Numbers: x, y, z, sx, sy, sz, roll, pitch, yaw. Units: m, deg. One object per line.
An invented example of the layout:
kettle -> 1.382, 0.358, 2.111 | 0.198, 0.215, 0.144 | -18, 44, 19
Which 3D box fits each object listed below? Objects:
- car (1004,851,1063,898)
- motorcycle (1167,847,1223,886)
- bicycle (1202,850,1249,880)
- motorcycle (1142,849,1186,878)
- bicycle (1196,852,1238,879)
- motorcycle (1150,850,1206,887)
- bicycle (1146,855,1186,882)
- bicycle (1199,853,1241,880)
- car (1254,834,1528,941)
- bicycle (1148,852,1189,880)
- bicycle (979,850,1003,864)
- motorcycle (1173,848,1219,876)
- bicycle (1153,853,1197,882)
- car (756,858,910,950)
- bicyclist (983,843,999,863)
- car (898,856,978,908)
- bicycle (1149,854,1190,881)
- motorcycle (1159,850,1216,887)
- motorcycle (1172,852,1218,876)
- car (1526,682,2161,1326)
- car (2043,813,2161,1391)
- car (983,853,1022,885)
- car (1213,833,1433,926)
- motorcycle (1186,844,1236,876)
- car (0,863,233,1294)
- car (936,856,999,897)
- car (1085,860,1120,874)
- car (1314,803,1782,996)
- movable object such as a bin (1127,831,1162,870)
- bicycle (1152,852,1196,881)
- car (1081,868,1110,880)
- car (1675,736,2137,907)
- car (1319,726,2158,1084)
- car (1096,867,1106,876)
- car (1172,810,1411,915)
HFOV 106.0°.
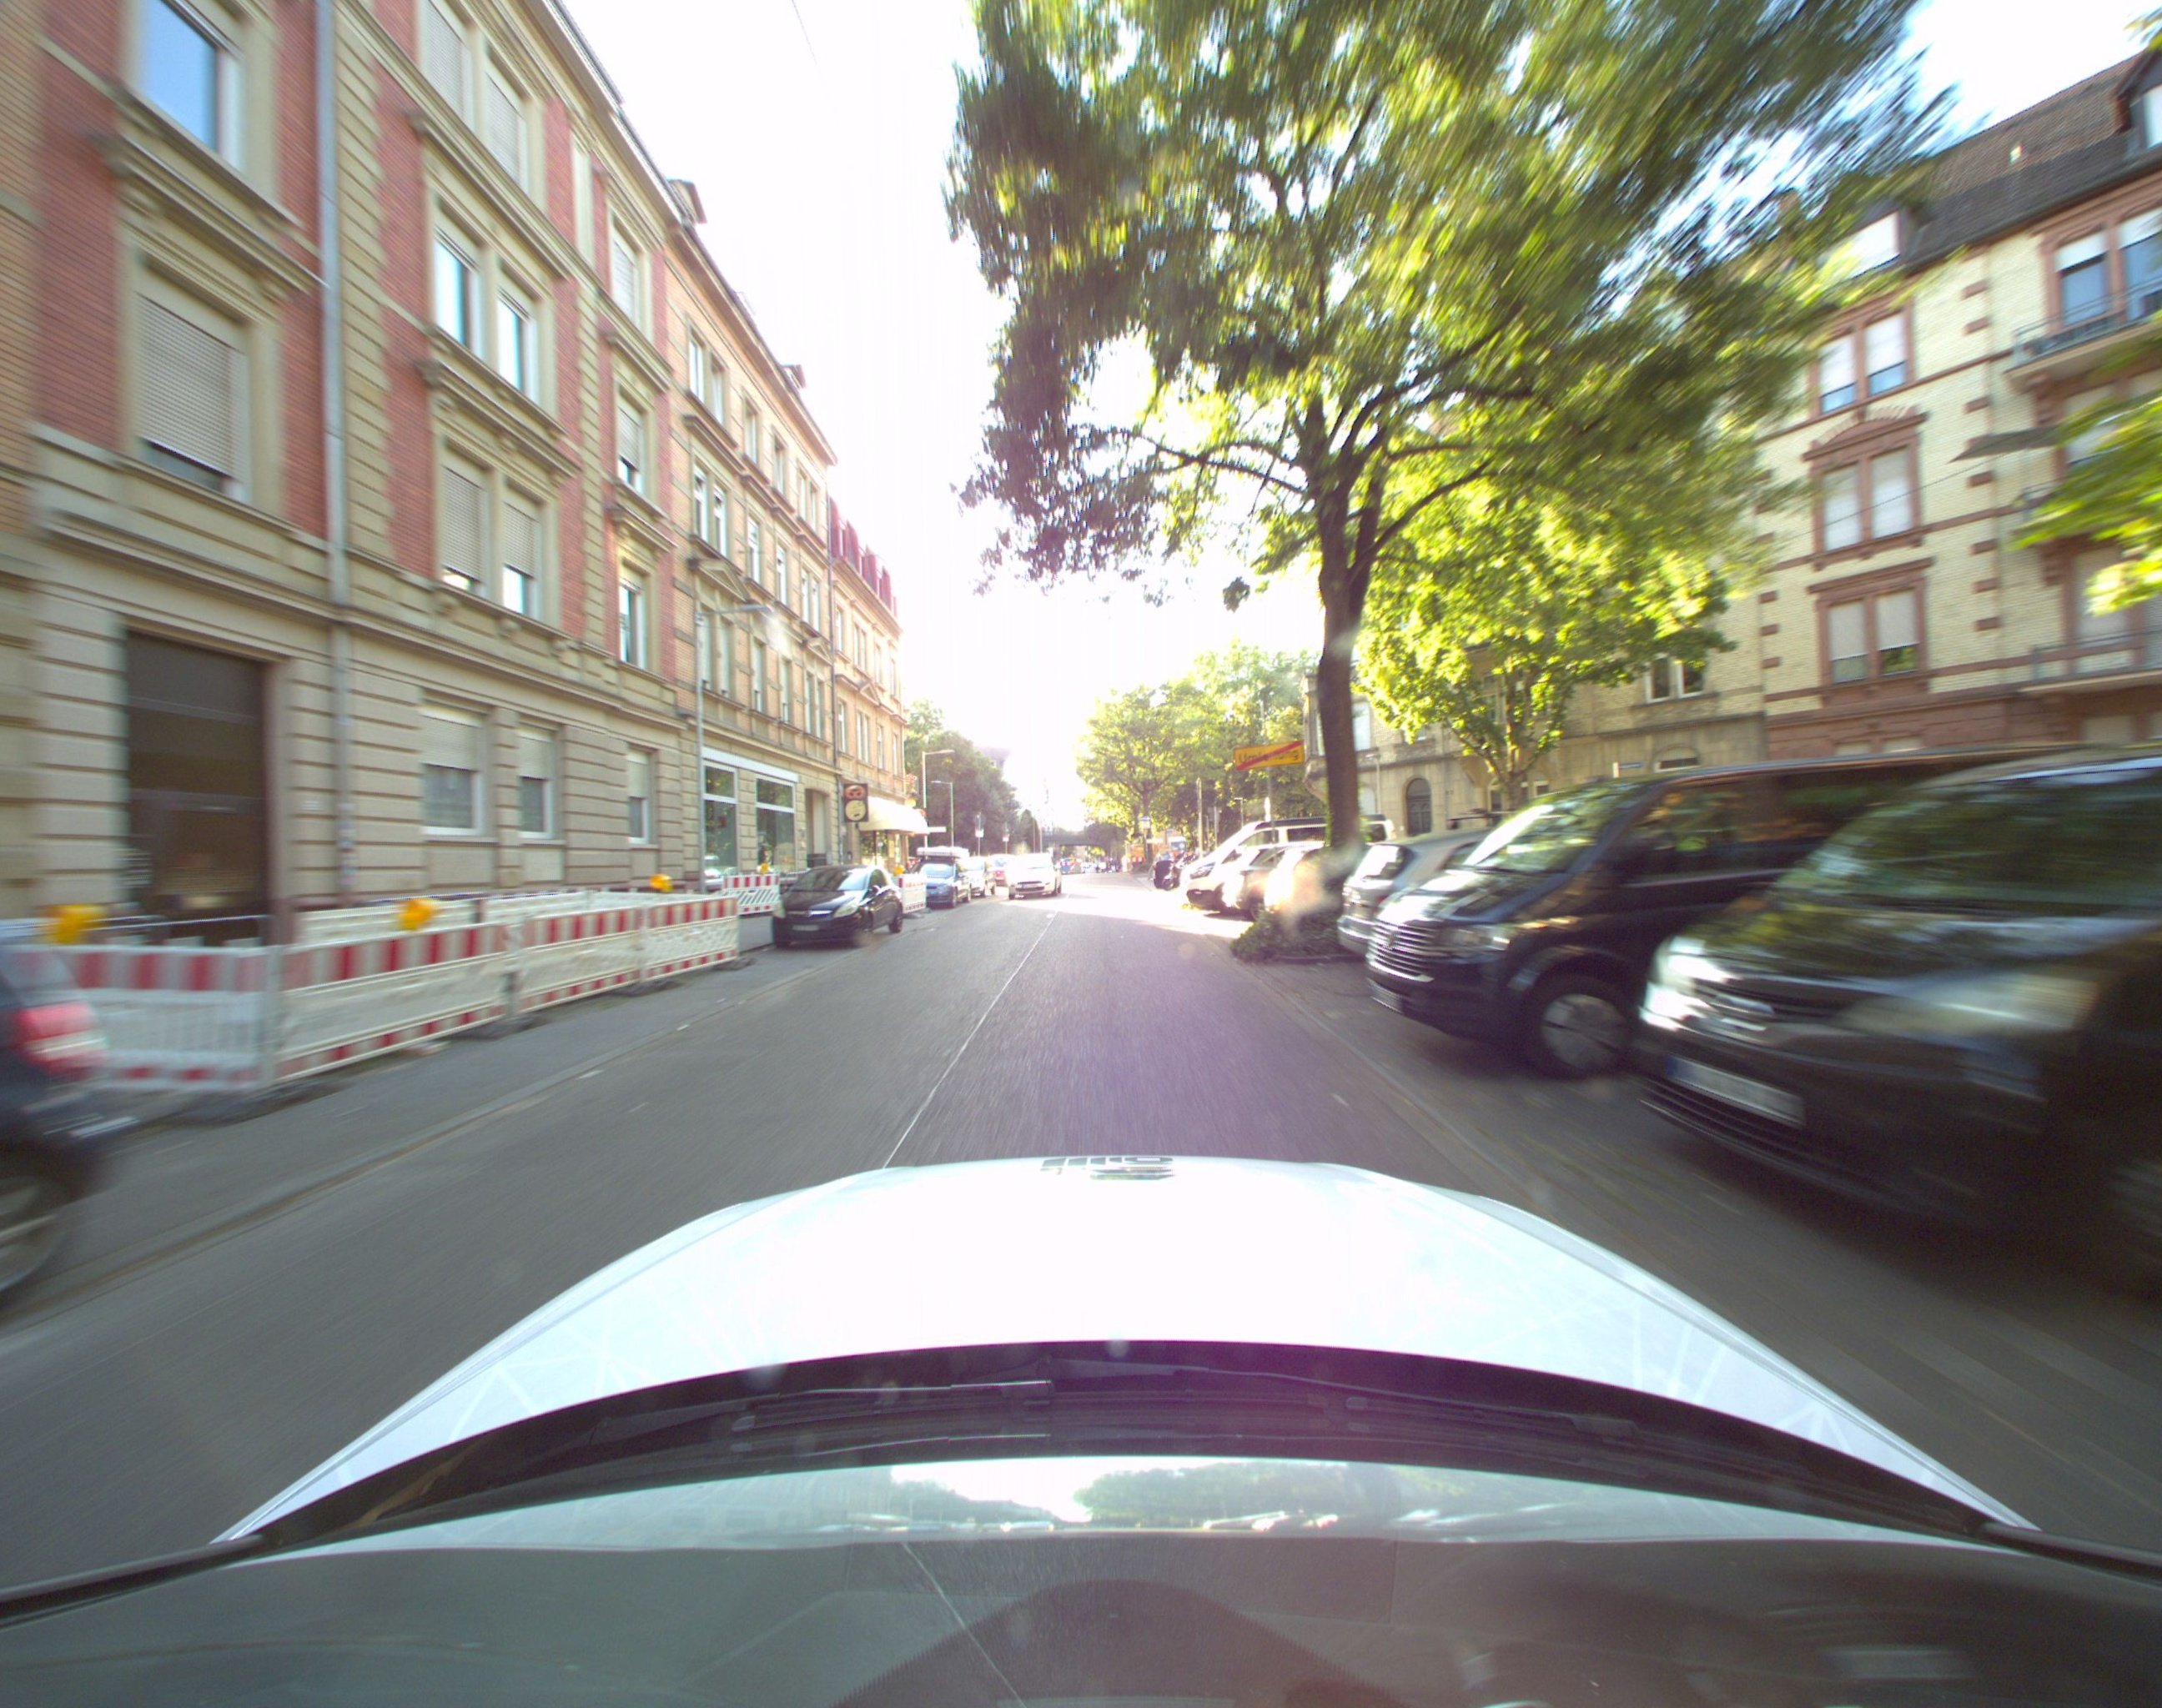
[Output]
car -> -1.635, 0.666, 29.245 | 1.743, 1.509, 4.001 | -2, 0, 1
motorcycle -> 4.357, 0.460, 31.254 | 2.016, 1.362, 0.694 | -3, 0, 1
bicycle -> 6.244, 0.466, 35.147 | 1.921, 1.246, 0.479 | -2, 0, -5
motorcycle -> 4.157, 0.469, 40.889 | 1.913, 1.412, 0.947 | -2, 0, 29
bicycle -> 6.601, 0.576, 39.519 | 1.921, 1.246, 0.452 | -2, 0, -5
motorcycle -> 3.838, 0.554, 32.239 | 2.017, 1.285, 0.904 | -4, 0, -1
bicycle -> 4.157, 0.708, 39.774 | 1.921, 1.246, 0.302 | -2, 0, -5
bicycle -> 6.642, 0.582, 38.935 | 1.921, 1.246, 0.479 | -2, 0, -5
car -> 5.001, 0.513, 13.556 | 3.827, 1.515, 1.848 | -2, 0, 1
bicycle -> 4.213, 0.578, 39.390 | 1.921, 1.246, 0.302 | -2, 0, -5
bicycle -> -6.450, 0.248, 58.226 | 0.809, 0.968, 2.086 | -1, 0, -34
motorcycle -> 5.947, 0.408, 42.157 | 2.267, 1.341, 0.658 | -2, -1, 12
bicycle -> 4.244, 0.624, 36.725 | 1.921, 1.246, 0.302 | -2, 0, -5
car -> -4.651, 0.862, 15.883 | 1.698, 1.454, 4.020 | -2, 0, 0
bicyclist -> -6.447, -0.092, 58.225 | 0.809, 1.383, 0.975 | -1, 0, -34
car -> -4.469, 0.835, 26.057 | 1.759, 1.437, 4.300 | -2, 0, 0
bicycle -> 4.236, 0.631, 39.070 | 1.921, 1.246, 0.302 | -2, 0, -5
motorcycle -> 3.966, 0.532, 30.330 | 2.010, 1.327, 0.620 | -2, 0, -3
motorcycle -> 6.020, 0.507, 43.035 | 2.266, 1.180, 0.974 | -2, -1, 13
car -> 4.572, 0.365, 3.487 | 4.258, 1.885, 1.938 | -2, 0, -3
car -> 4.581, 0.550, 1.150 | 3.967, 1.448, 1.893 | -2, 0, 5
car -> -3.962, 0.725, 41.607 | 1.664, 1.530, 3.998 | -2, 0, -1
car -> 4.670, 0.475, 16.122 | 3.827, 1.595, 1.741 | -2, 0, 1
motorcycle -> 6.399, 0.289, 40.231 | 2.279, 1.531, 0.754 | -2, -1, -5
car -> -4.896, 0.871, 1.842 | 1.735, 1.567, 3.896 | -2, 0, 2
car -> -4.286, 0.808, 31.275 | 1.719, 1.437, 3.998 | 0, 0, 2
car -> 2.687, 1.632, 102.314 | 4.375, 1.702, 1.915 | -1, -3, -2
car -> 4.768, 0.428, 8.749 | 3.975, 1.692, 1.800 | -2, 0, -1
movable object such as a bin -> 4.634, -0.268, 59.136 | 1.979, 2.699, 3.122 | -2, -1, 14
bicycle -> 4.224, 0.557, 37.062 | 1.921, 1.246, 0.302 | -2, 0, -5
car -> 2.233, 3.162, 126.834 | 4.375, 1.785, 1.915 | -1, -3, -2
car -> 13.984, -0.542, 14.057 | 5.885, 2.537, 2.376 | -2, 0, -5
car -> 4.385, 0.294, 6.023 | 4.602, 2.013, 1.999 | -2, 0, -2
car -> 3.776, 3.243, 150.787 | 1.769, 1.609, 4.402 | -2, 0, 1
car -> 4.693, 0.174, 18.774 | 4.956, 2.096, 2.106 | -2, 0, 1
